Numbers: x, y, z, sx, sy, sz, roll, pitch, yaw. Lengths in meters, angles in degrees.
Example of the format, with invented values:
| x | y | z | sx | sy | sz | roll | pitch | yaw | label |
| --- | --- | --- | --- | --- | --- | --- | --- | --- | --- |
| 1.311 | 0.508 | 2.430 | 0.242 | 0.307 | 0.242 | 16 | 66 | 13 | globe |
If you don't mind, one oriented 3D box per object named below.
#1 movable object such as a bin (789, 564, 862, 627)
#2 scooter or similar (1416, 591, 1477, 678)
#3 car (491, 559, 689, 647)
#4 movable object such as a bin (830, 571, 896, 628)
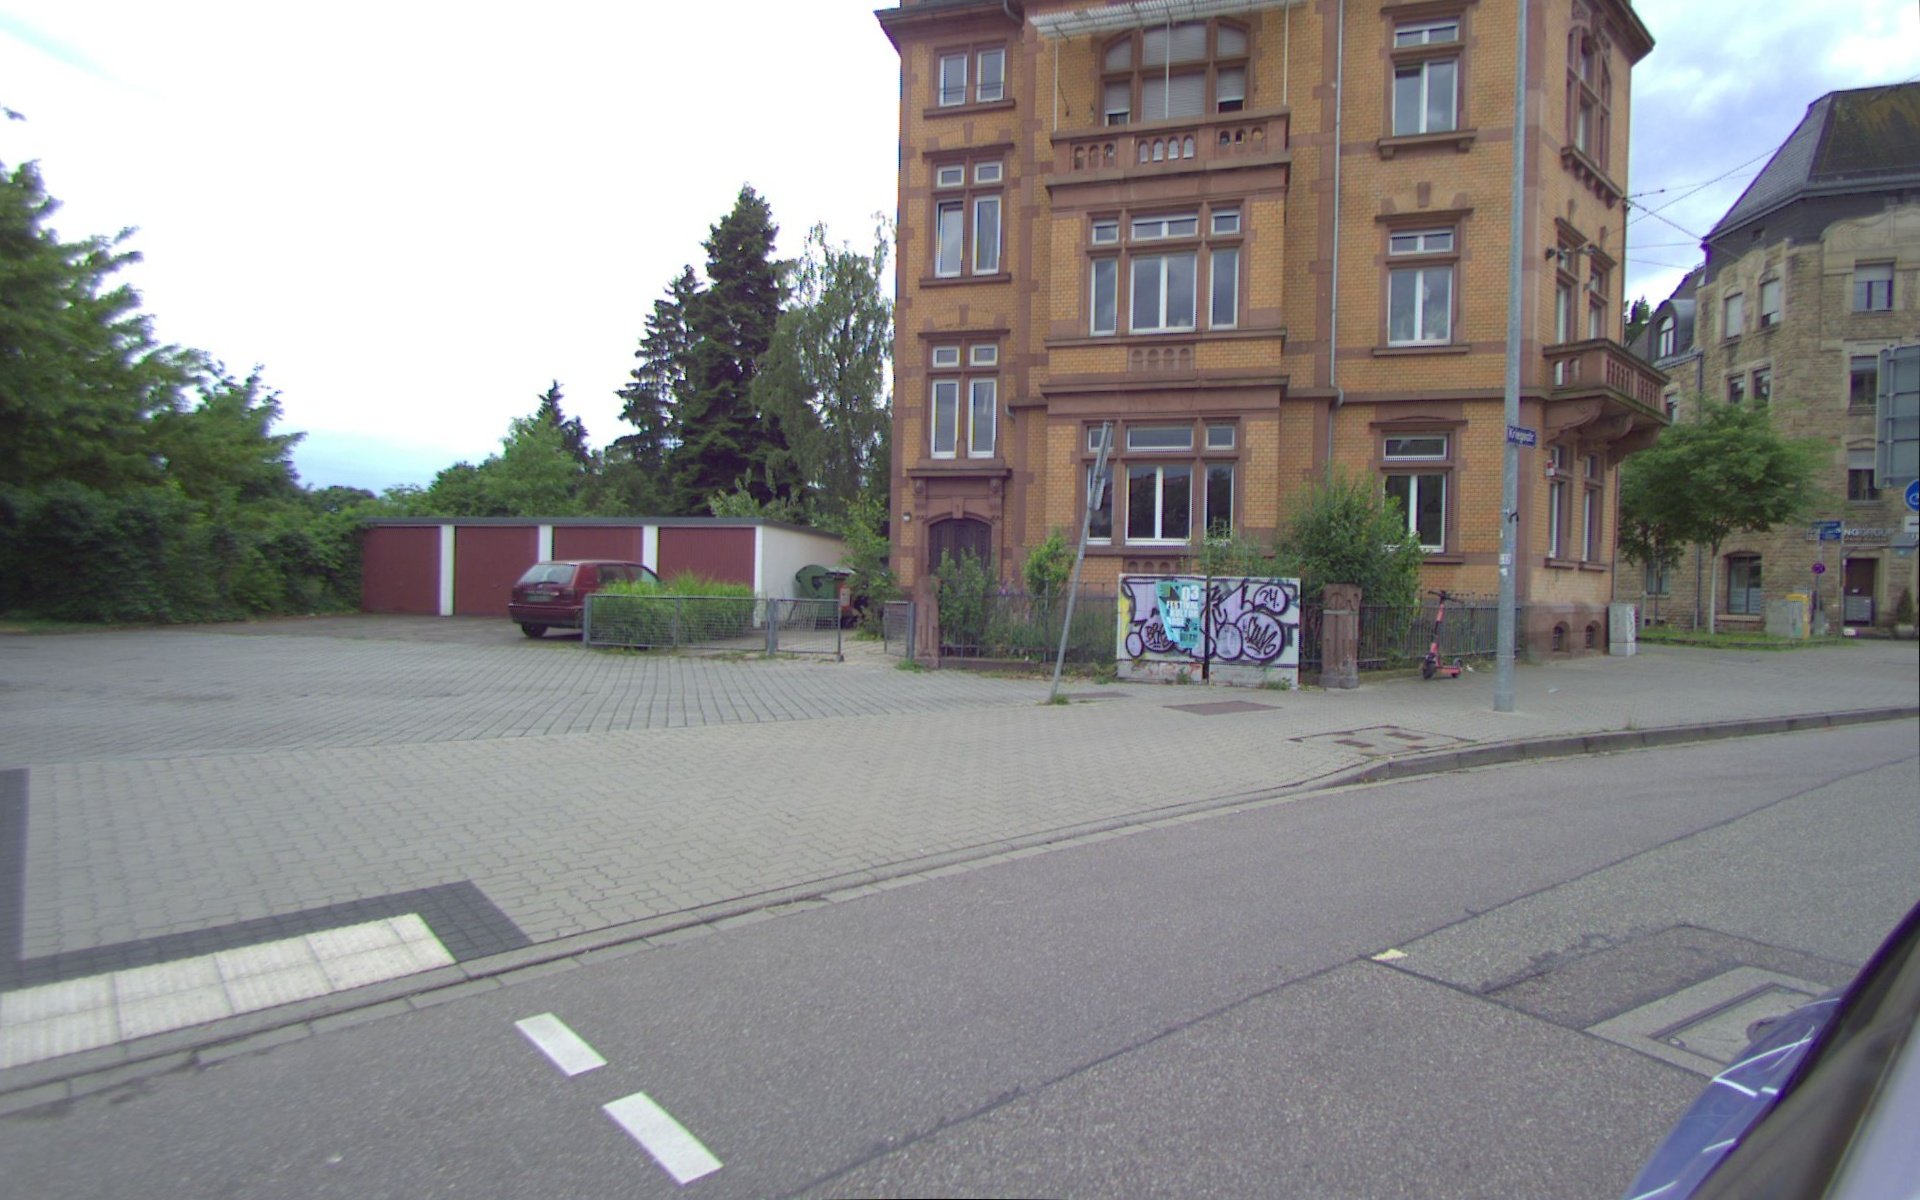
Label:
| x | y | z | sx | sy | sz | roll | pitch | yaw | label |
| --- | --- | --- | --- | --- | --- | --- | --- | --- | --- |
| -3.109 | -0.119 | 23.545 | 1.145 | 1.407 | 1.452 | 1 | 1 | 21 | movable object such as a bin |
| 6.773 | 0.467 | 14.067 | 0.376 | 1.155 | 1.180 | 2 | 1 | 44 | scooter or similar |
| -6.821 | -0.017 | 19.022 | 1.671 | 1.470 | 3.463 | 2 | 2 | 20 | car |
| -2.471 | -0.023 | 25.963 | 1.145 | 1.407 | 1.452 | 1 | 1 | 21 | movable object such as a bin |
